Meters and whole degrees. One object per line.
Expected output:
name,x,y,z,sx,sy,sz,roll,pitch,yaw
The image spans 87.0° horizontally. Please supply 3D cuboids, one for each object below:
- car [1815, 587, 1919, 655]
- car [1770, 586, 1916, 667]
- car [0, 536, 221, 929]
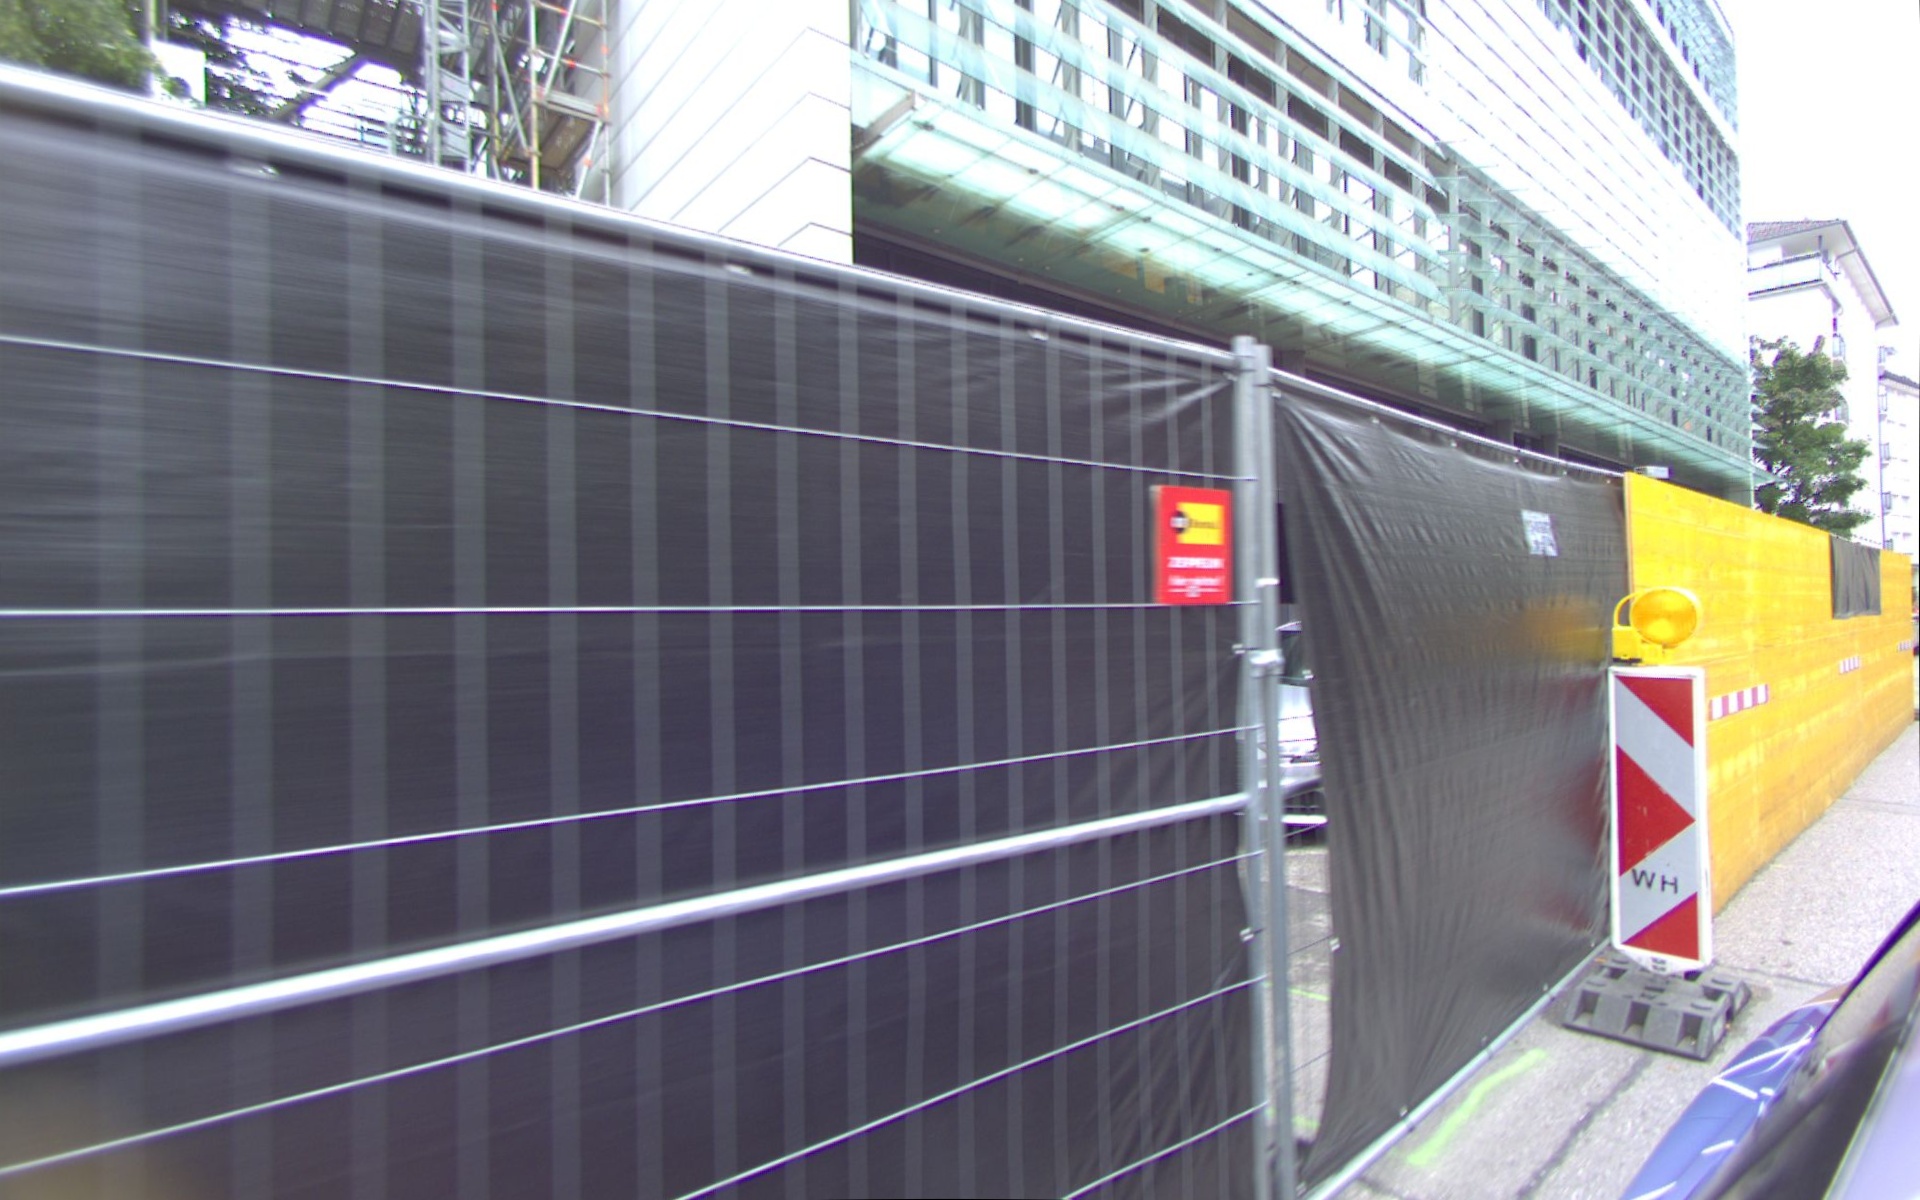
car,22.240,0.477,24.534,4.208,1.504,1.873,-1,-1,-44
car,18.599,0.524,21.254,1.993,1.506,4.210,-5,-3,45
car,-5.478,0.645,5.730,1.744,1.701,3.740,0,-2,-42
